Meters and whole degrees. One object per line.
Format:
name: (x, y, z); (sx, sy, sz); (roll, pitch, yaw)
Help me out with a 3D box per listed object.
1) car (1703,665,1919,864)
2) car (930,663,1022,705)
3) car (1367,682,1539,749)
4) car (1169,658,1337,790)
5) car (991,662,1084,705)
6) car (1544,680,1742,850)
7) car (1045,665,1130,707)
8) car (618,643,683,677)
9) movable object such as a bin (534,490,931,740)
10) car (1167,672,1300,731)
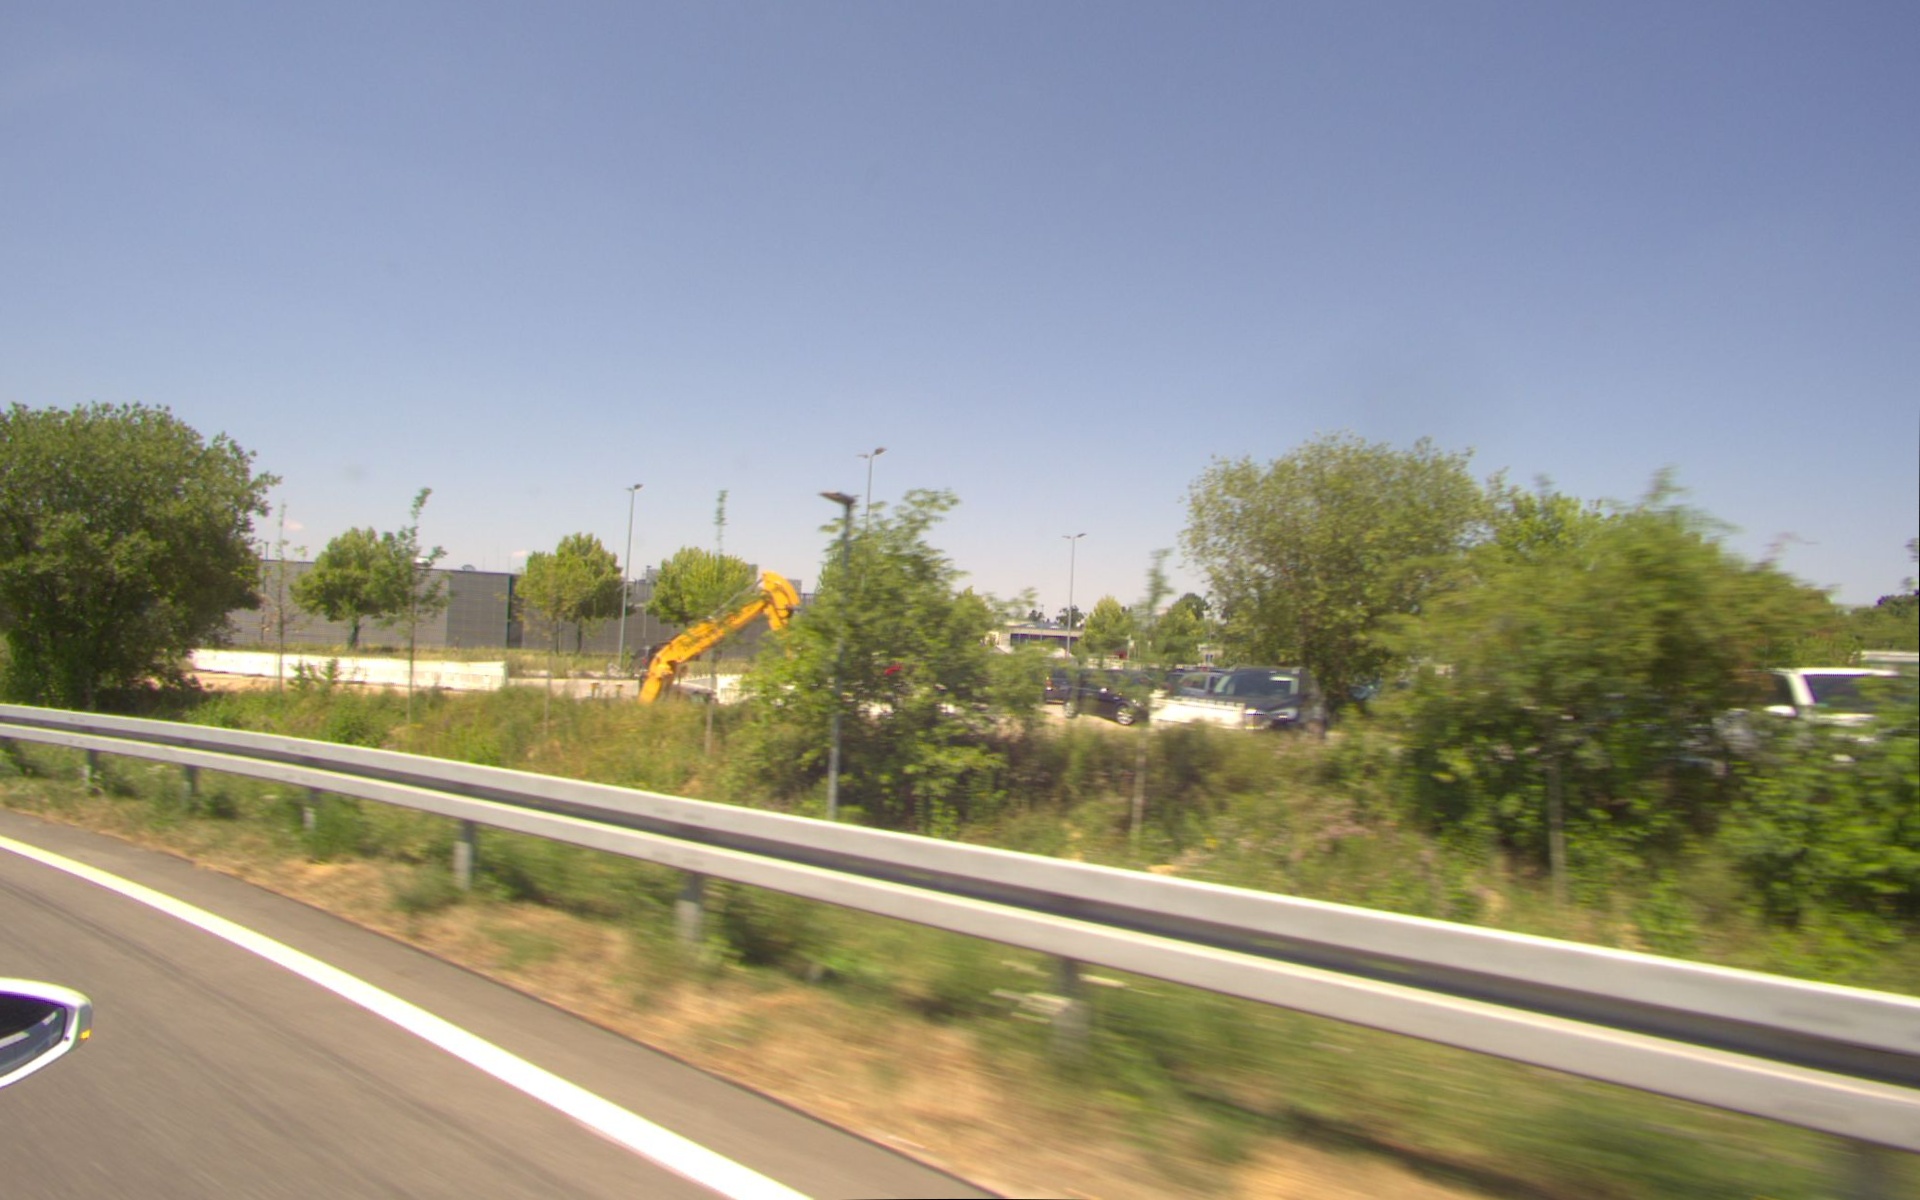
car: (12.602, 2.150, 14.158); (2.099, 2.286, 5.225); (3, -2, 23)
car: (0.605, 3.470, 42.082); (1.970, 1.527, 4.594); (1, -2, -27)
car: (13.993, 3.219, 28.628); (1.919, 1.588, 4.069); (2, -3, -29)
car: (5.448, 2.122, 18.182); (2.031, 1.937, 4.434); (3, -3, 28)
car: (3.283, 3.565, 43.291); (1.984, 1.657, 4.573); (2, -3, -25)
car: (10.024, 2.271, 15.040); (1.969, 1.993, 4.295); (3, -3, 29)
car: (5.629, 3.803, 44.660); (1.917, 1.657, 3.986); (2, -3, -26)
car: (-17.792, 3.415, 57.381); (2.076, 1.838, 5.311); (3, -3, -33)
movable object such as a bin: (-5.680, 0.226, 24.775); (9.074, 5.327, 3.428); (3, -2, 25)
car: (9.149, 3.354, 33.825); (1.972, 1.655, 4.134); (2, -2, -31)
